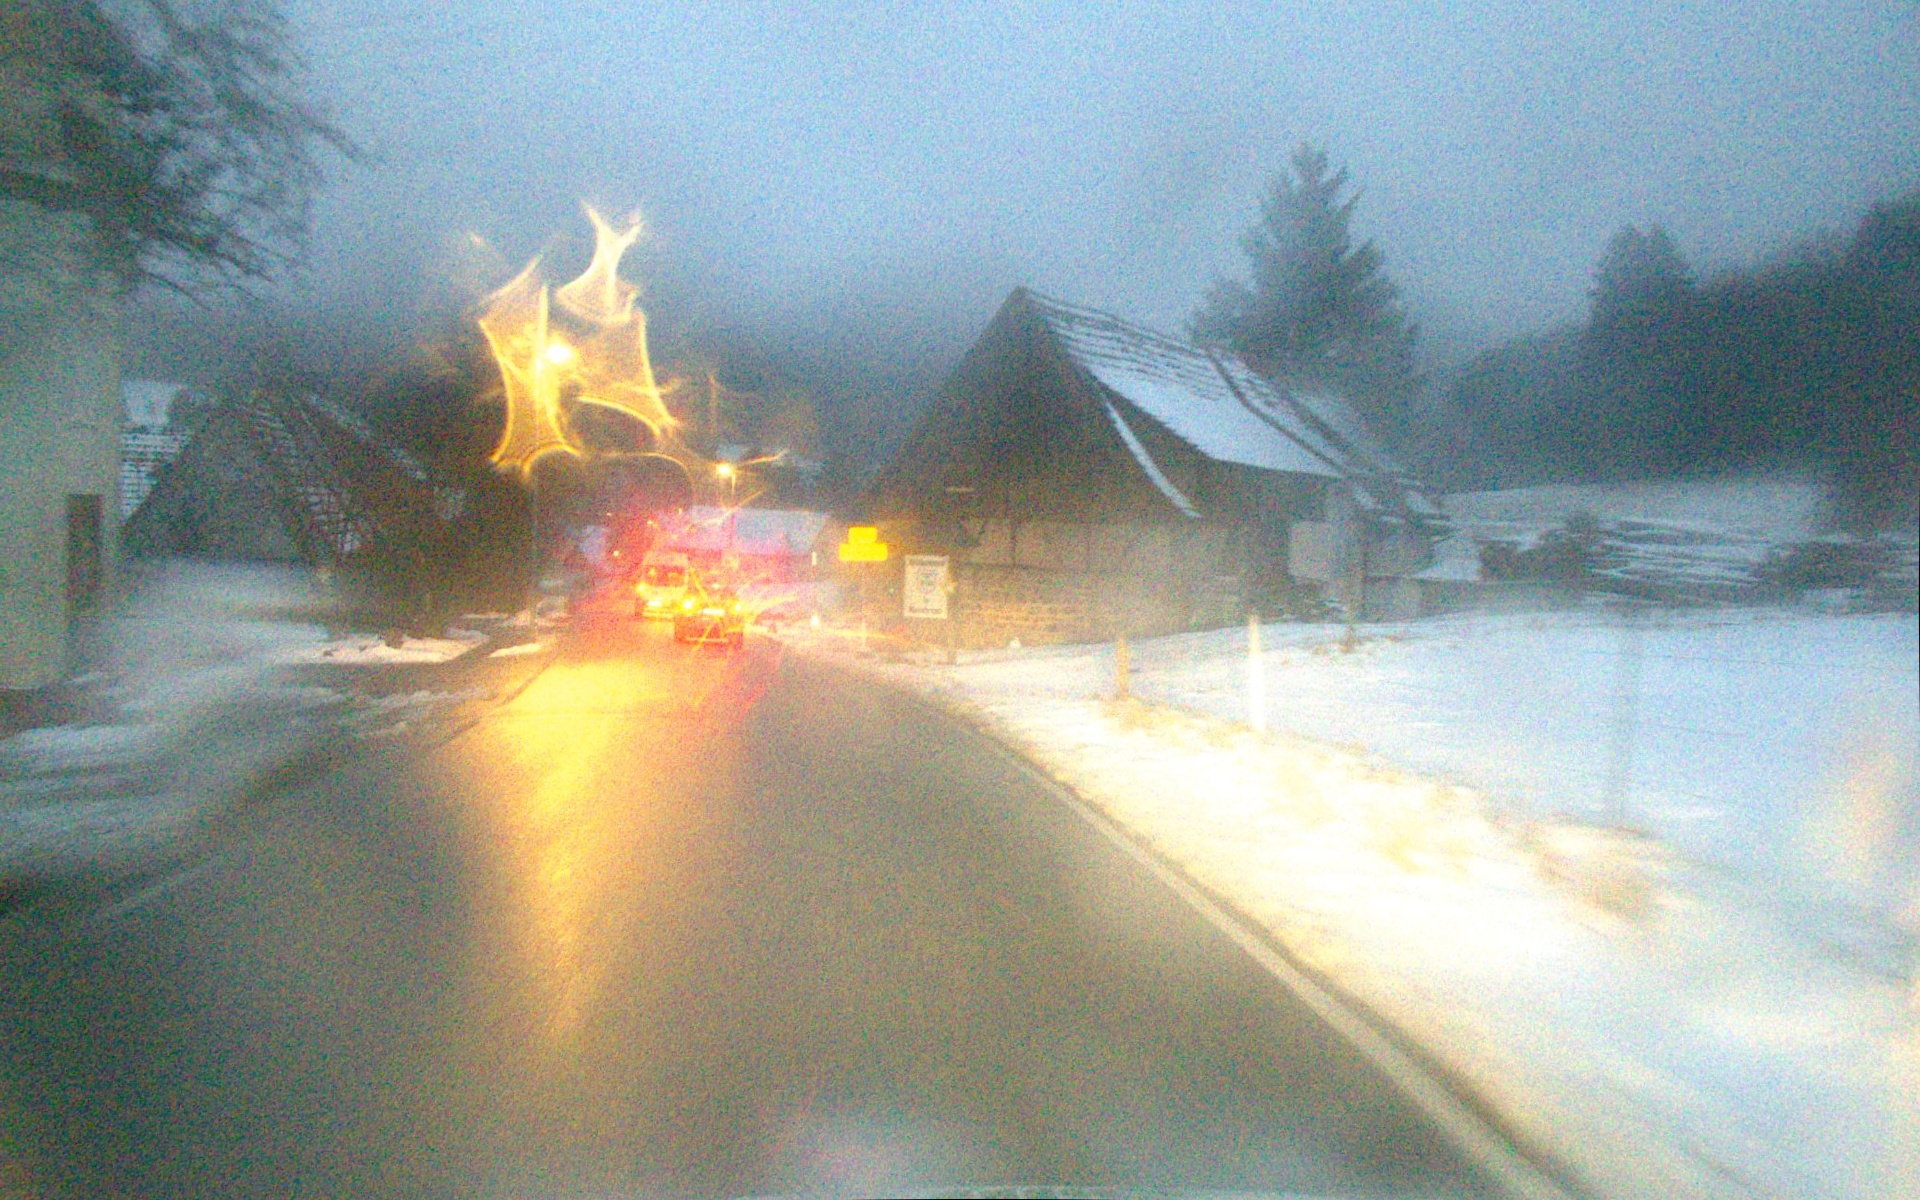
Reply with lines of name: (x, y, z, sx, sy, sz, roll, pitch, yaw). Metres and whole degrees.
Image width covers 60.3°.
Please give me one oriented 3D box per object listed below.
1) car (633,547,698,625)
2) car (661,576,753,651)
car: (-12.093, -0.525, 68.184, 2.389, 3.072, 5.315, 1, -1, -8)
car: (-6.806, 0.307, 44.031, 2.233, 1.873, 4.993, 0, 1, -11)
